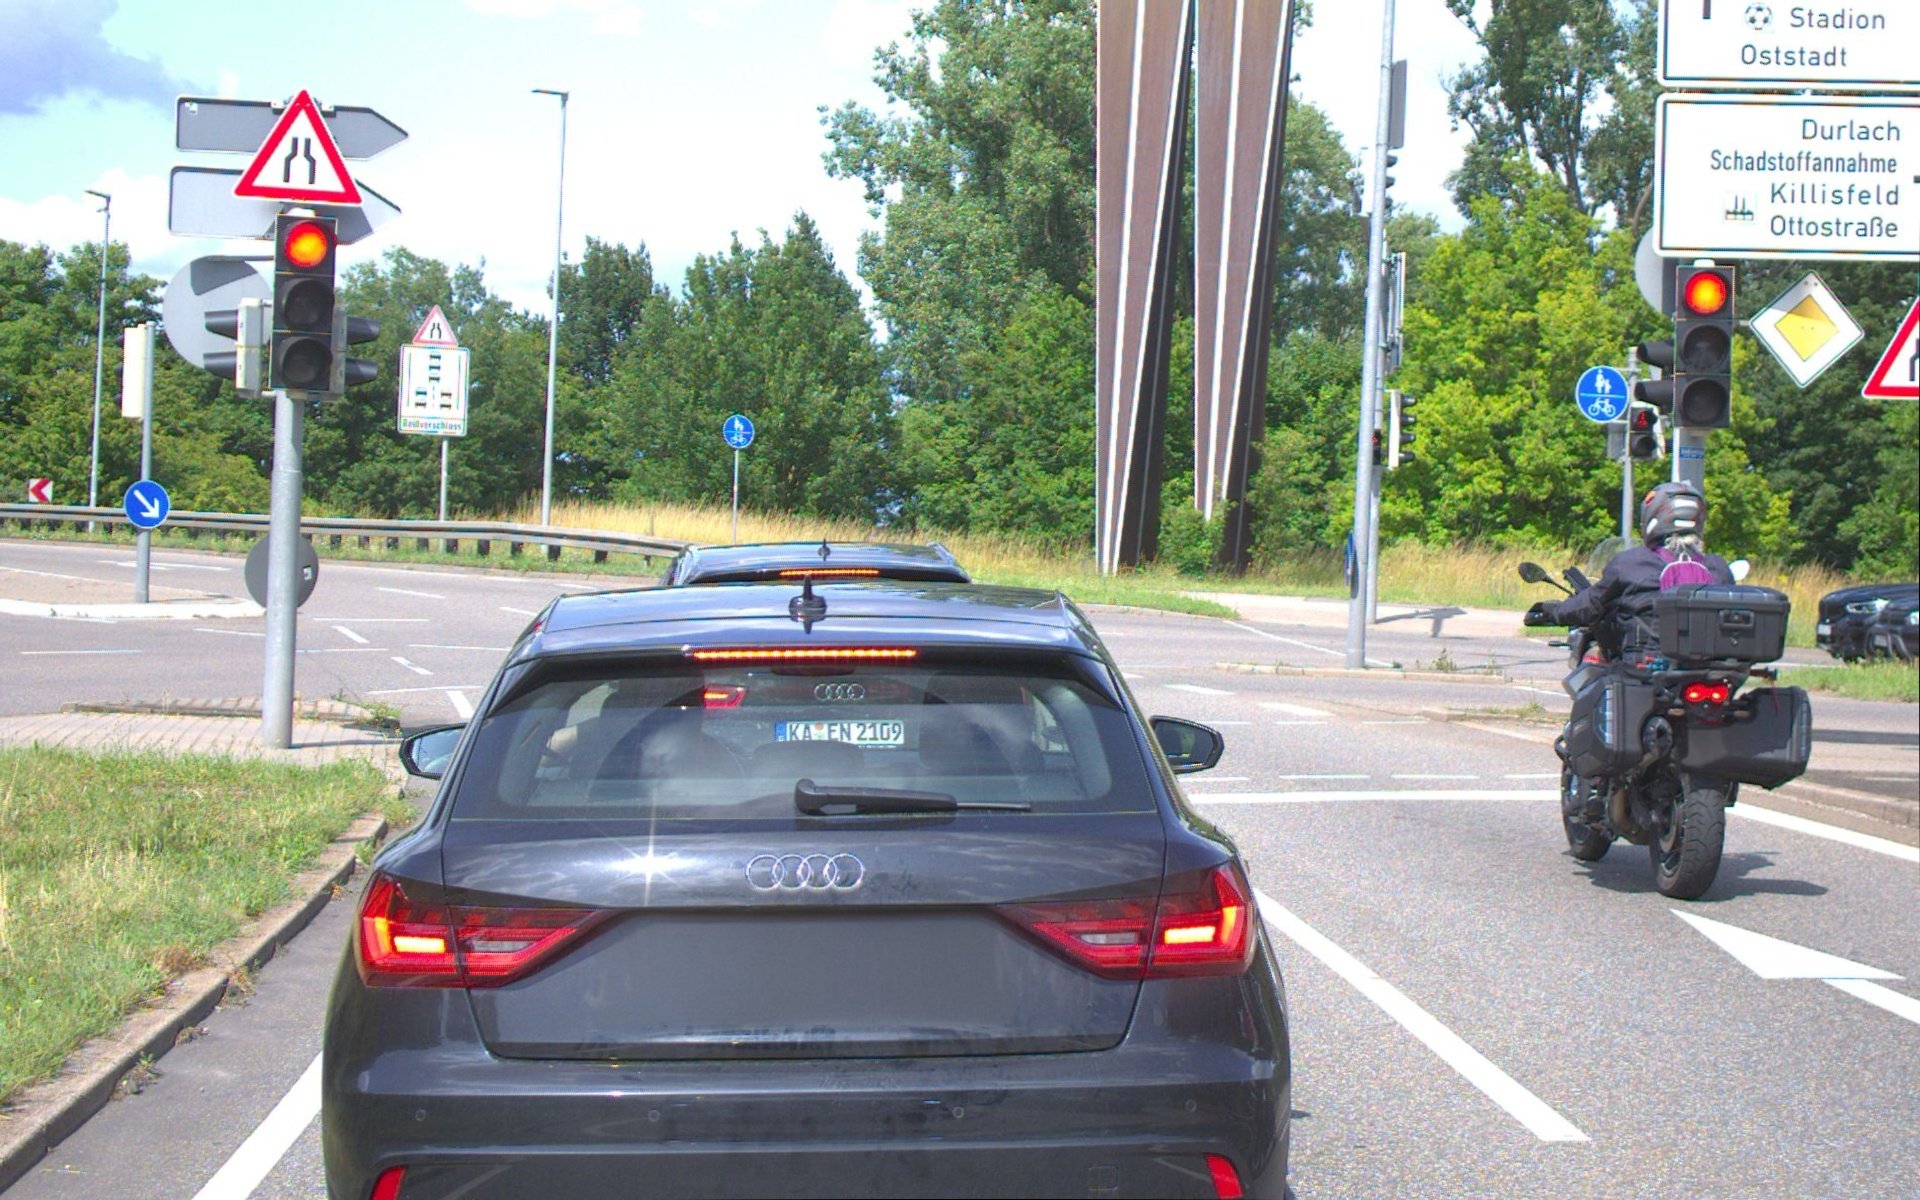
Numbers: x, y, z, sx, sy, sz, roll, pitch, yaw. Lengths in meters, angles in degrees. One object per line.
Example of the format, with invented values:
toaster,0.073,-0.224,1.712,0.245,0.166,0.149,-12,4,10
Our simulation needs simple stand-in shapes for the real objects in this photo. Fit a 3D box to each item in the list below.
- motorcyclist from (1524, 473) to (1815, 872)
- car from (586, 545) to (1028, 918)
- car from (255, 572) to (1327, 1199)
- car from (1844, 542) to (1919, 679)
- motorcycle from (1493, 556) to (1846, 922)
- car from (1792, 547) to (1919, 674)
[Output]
motorcyclist,2.946,0.282,14.391,0.936,1.585,1.083,1,1,-1
car,-0.749,0.480,15.350,1.726,1.418,3.845,0,1,-5
car,-0.293,0.671,7.551,1.726,1.399,4.000,0,1,-1
car,12.649,0.167,39.892,4.268,1.539,1.737,2,1,-1
motorcycle,2.936,0.525,14.524,0.936,1.378,2.370,1,1,-1
car,13.257,0.168,43.746,4.847,1.539,1.737,2,1,-1
